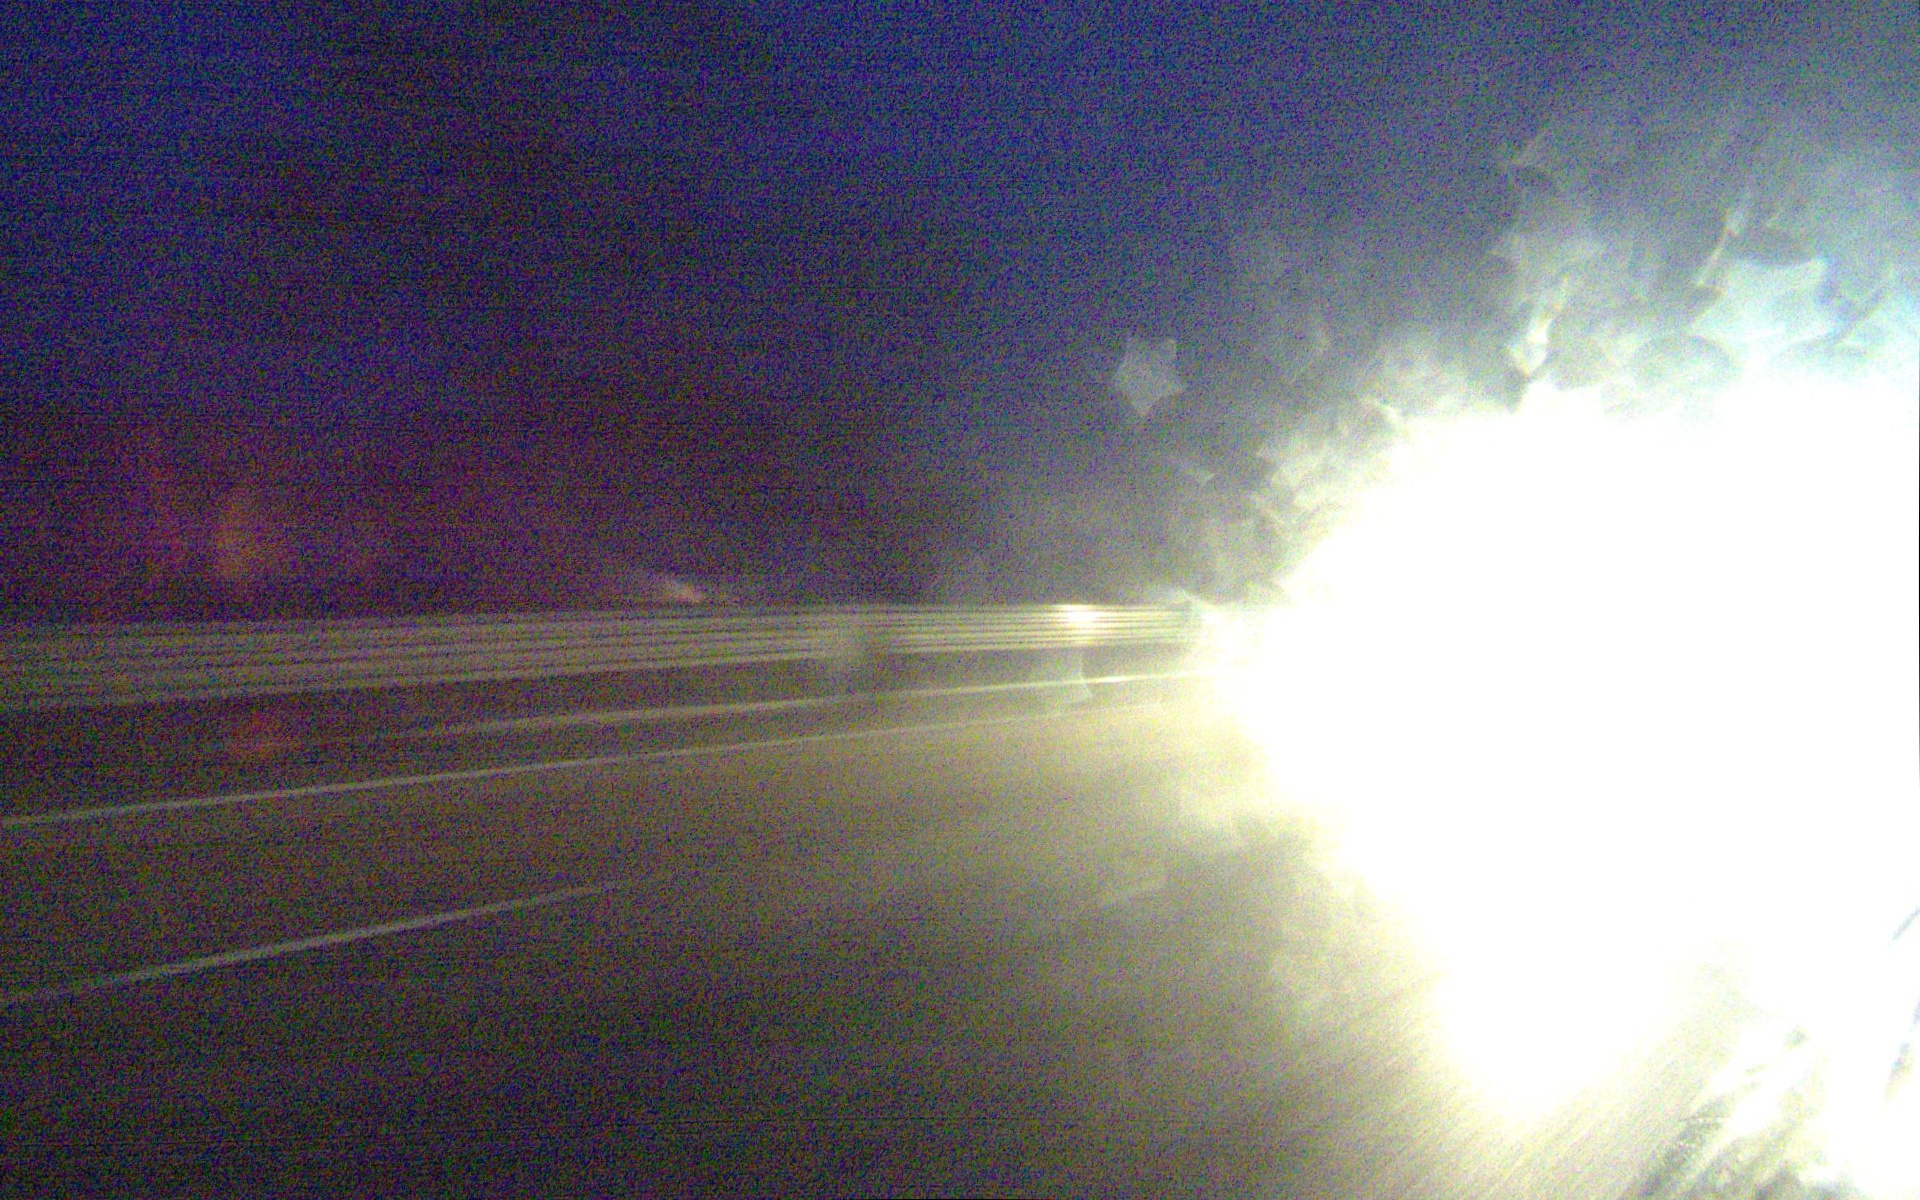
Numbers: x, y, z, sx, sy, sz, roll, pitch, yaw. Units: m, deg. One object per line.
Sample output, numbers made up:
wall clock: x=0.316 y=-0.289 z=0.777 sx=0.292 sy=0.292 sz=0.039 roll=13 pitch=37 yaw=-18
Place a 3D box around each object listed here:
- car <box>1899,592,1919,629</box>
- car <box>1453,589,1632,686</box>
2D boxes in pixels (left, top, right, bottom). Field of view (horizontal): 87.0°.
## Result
car: x=49.440 y=0.572 z=51.577 sx=4.615 sy=1.870 sz=1.830 roll=2 pitch=-1 yaw=-41
car: x=10.466 y=0.603 z=18.069 sx=3.945 sy=1.522 sz=1.642 roll=0 pitch=1 yaw=-43
